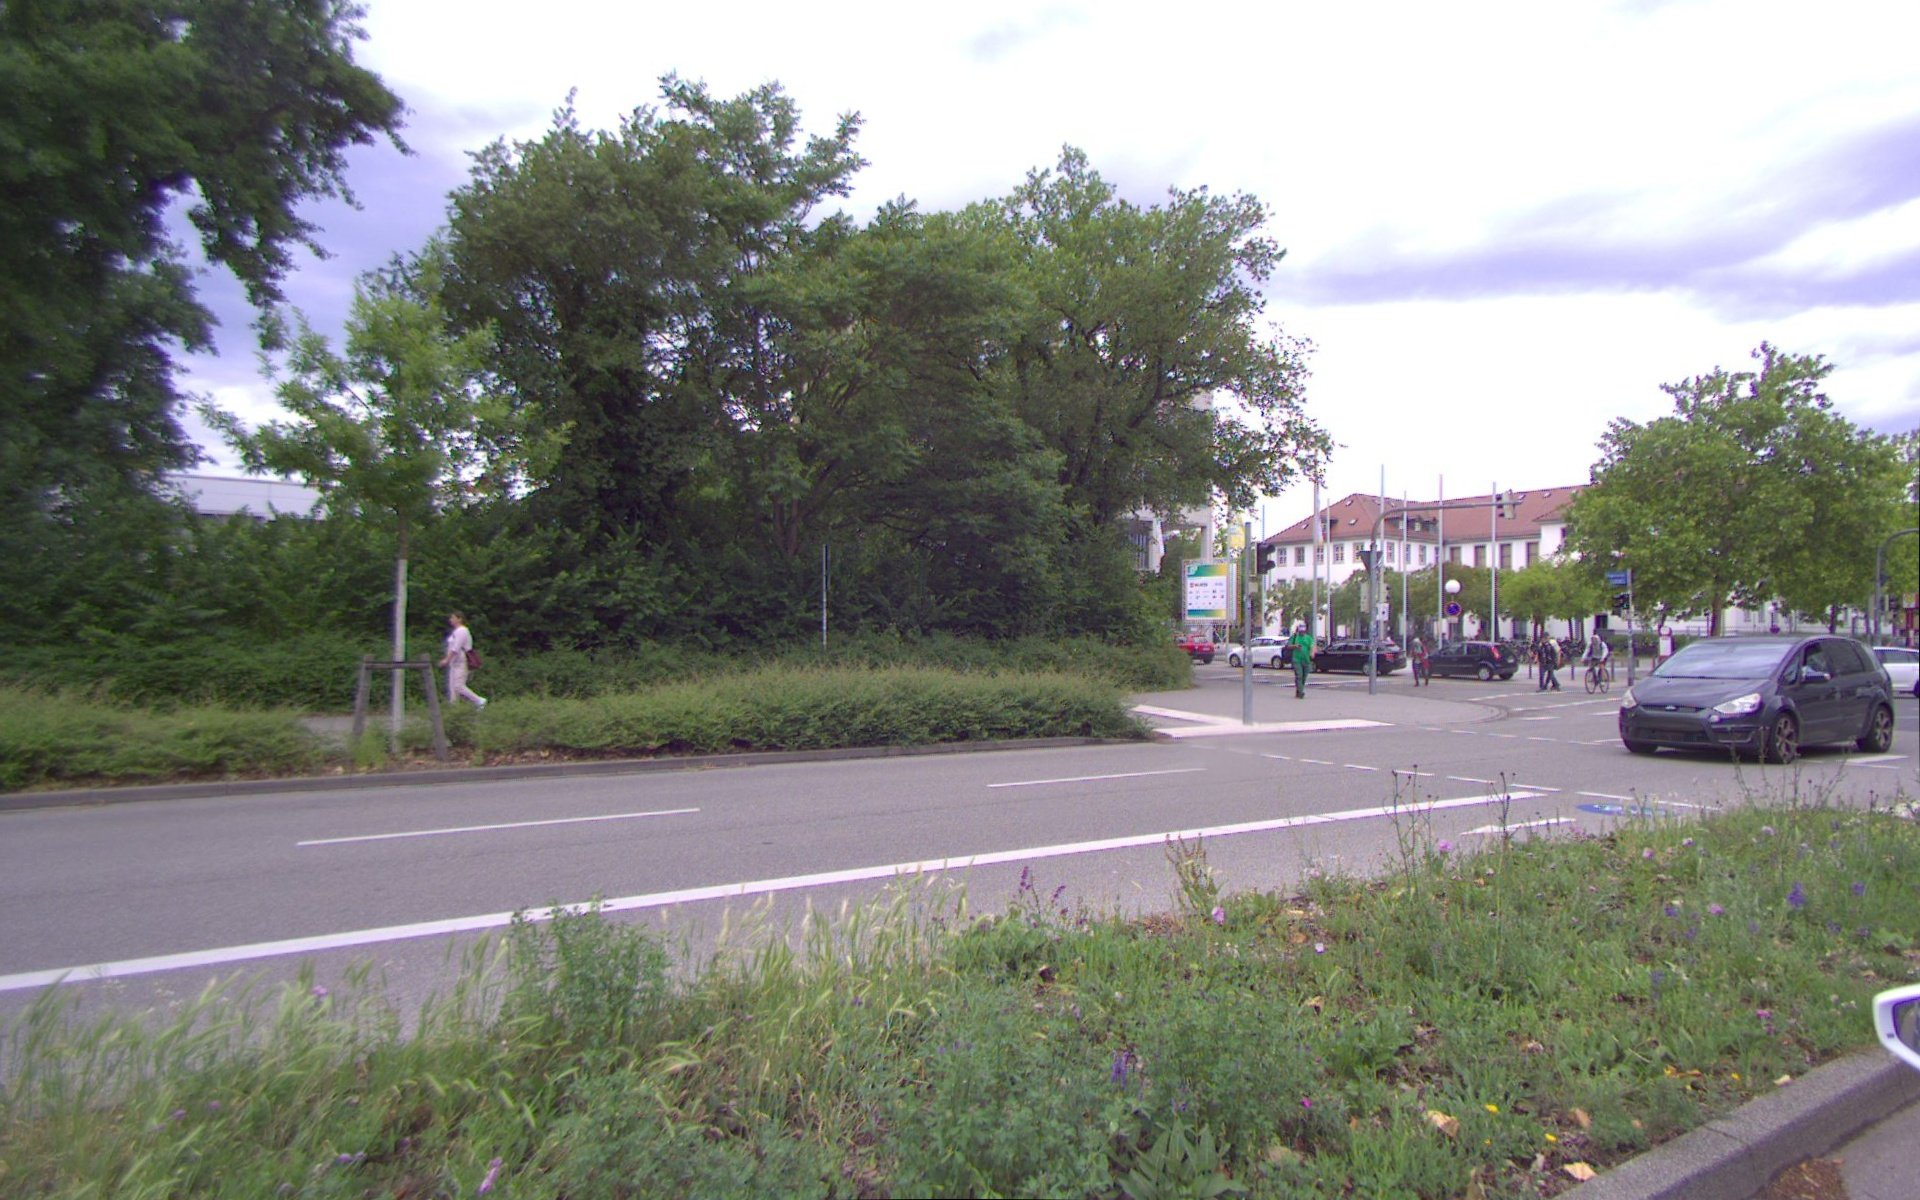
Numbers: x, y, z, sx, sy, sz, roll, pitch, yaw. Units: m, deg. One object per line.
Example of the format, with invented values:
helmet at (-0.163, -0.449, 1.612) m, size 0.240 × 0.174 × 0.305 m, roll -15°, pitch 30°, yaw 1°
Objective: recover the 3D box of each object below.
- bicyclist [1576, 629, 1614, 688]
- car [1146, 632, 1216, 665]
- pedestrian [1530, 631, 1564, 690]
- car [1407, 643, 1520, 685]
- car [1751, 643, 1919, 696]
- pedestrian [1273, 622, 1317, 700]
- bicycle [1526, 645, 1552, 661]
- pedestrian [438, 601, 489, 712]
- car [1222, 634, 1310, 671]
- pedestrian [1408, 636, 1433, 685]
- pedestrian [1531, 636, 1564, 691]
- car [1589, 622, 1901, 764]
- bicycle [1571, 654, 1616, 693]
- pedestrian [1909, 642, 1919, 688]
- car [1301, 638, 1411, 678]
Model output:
bicyclist at (18.252, 1.668, 28.883) m, size 0.954 × 1.657 × 0.660 m, roll 2°, pitch -1°, yaw -42°
car at (11.346, 2.487, 51.731) m, size 1.547 × 1.499 × 3.322 m, roll 1°, pitch 0°, yaw -36°
pedestrian at (18.152, 1.866, 31.063) m, size 0.829 × 1.761 × 0.828 m, roll 0°, pitch -6°, yaw 36°
car at (19.662, 2.463, 39.311) m, size 1.548 × 1.240 × 3.630 m, roll -7°, pitch 4°, yaw -35°
car at (25.754, 1.991, 29.154) m, size 4.142 × 1.450 × 1.711 m, roll -1°, pitch -2°, yaw 2°
pedestrian at (8.032, 1.440, 24.106) m, size 0.924 × 1.782 × 0.876 m, roll 2°, pitch -1°, yaw 16°
bicycle at (32.679, 3.009, 56.691) m, size 1.191 × 0.892 × 0.263 m, roll -2°, pitch -3°, yaw 38°
pedestrian at (-7.721, 0.869, 15.607) m, size 0.663 × 1.657 × 0.697 m, roll 1°, pitch -2°, yaw -30°
car at (14.425, 2.444, 47.536) m, size 1.667 × 1.560 × 3.857 m, roll -1°, pitch 0°, yaw -32°
pedestrian at (15.106, 1.996, 32.954) m, size 0.563 × 1.545 × 0.846 m, roll 0°, pitch -6°, yaw 36°
pedestrian at (17.323, 1.866, 29.612) m, size 0.779 × 1.578 × 0.697 m, roll 0°, pitch -4°, yaw 37°
car at (10.925, 1.216, 13.941) m, size 4.347 × 1.686 × 1.912 m, roll 2°, pitch -4°, yaw -30°
bicycle at (18.221, 2.095, 28.871) m, size 1.607 × 1.076 × 0.660 m, roll 3°, pitch -1°, yaw -42°
pedestrian at (33.974, 2.264, 35.252) m, size 0.538 × 1.607 × 0.868 m, roll 1°, pitch -3°, yaw -36°
car at (16.740, 2.416, 42.606) m, size 4.006 × 1.472 × 1.613 m, roll -2°, pitch 3°, yaw 43°
